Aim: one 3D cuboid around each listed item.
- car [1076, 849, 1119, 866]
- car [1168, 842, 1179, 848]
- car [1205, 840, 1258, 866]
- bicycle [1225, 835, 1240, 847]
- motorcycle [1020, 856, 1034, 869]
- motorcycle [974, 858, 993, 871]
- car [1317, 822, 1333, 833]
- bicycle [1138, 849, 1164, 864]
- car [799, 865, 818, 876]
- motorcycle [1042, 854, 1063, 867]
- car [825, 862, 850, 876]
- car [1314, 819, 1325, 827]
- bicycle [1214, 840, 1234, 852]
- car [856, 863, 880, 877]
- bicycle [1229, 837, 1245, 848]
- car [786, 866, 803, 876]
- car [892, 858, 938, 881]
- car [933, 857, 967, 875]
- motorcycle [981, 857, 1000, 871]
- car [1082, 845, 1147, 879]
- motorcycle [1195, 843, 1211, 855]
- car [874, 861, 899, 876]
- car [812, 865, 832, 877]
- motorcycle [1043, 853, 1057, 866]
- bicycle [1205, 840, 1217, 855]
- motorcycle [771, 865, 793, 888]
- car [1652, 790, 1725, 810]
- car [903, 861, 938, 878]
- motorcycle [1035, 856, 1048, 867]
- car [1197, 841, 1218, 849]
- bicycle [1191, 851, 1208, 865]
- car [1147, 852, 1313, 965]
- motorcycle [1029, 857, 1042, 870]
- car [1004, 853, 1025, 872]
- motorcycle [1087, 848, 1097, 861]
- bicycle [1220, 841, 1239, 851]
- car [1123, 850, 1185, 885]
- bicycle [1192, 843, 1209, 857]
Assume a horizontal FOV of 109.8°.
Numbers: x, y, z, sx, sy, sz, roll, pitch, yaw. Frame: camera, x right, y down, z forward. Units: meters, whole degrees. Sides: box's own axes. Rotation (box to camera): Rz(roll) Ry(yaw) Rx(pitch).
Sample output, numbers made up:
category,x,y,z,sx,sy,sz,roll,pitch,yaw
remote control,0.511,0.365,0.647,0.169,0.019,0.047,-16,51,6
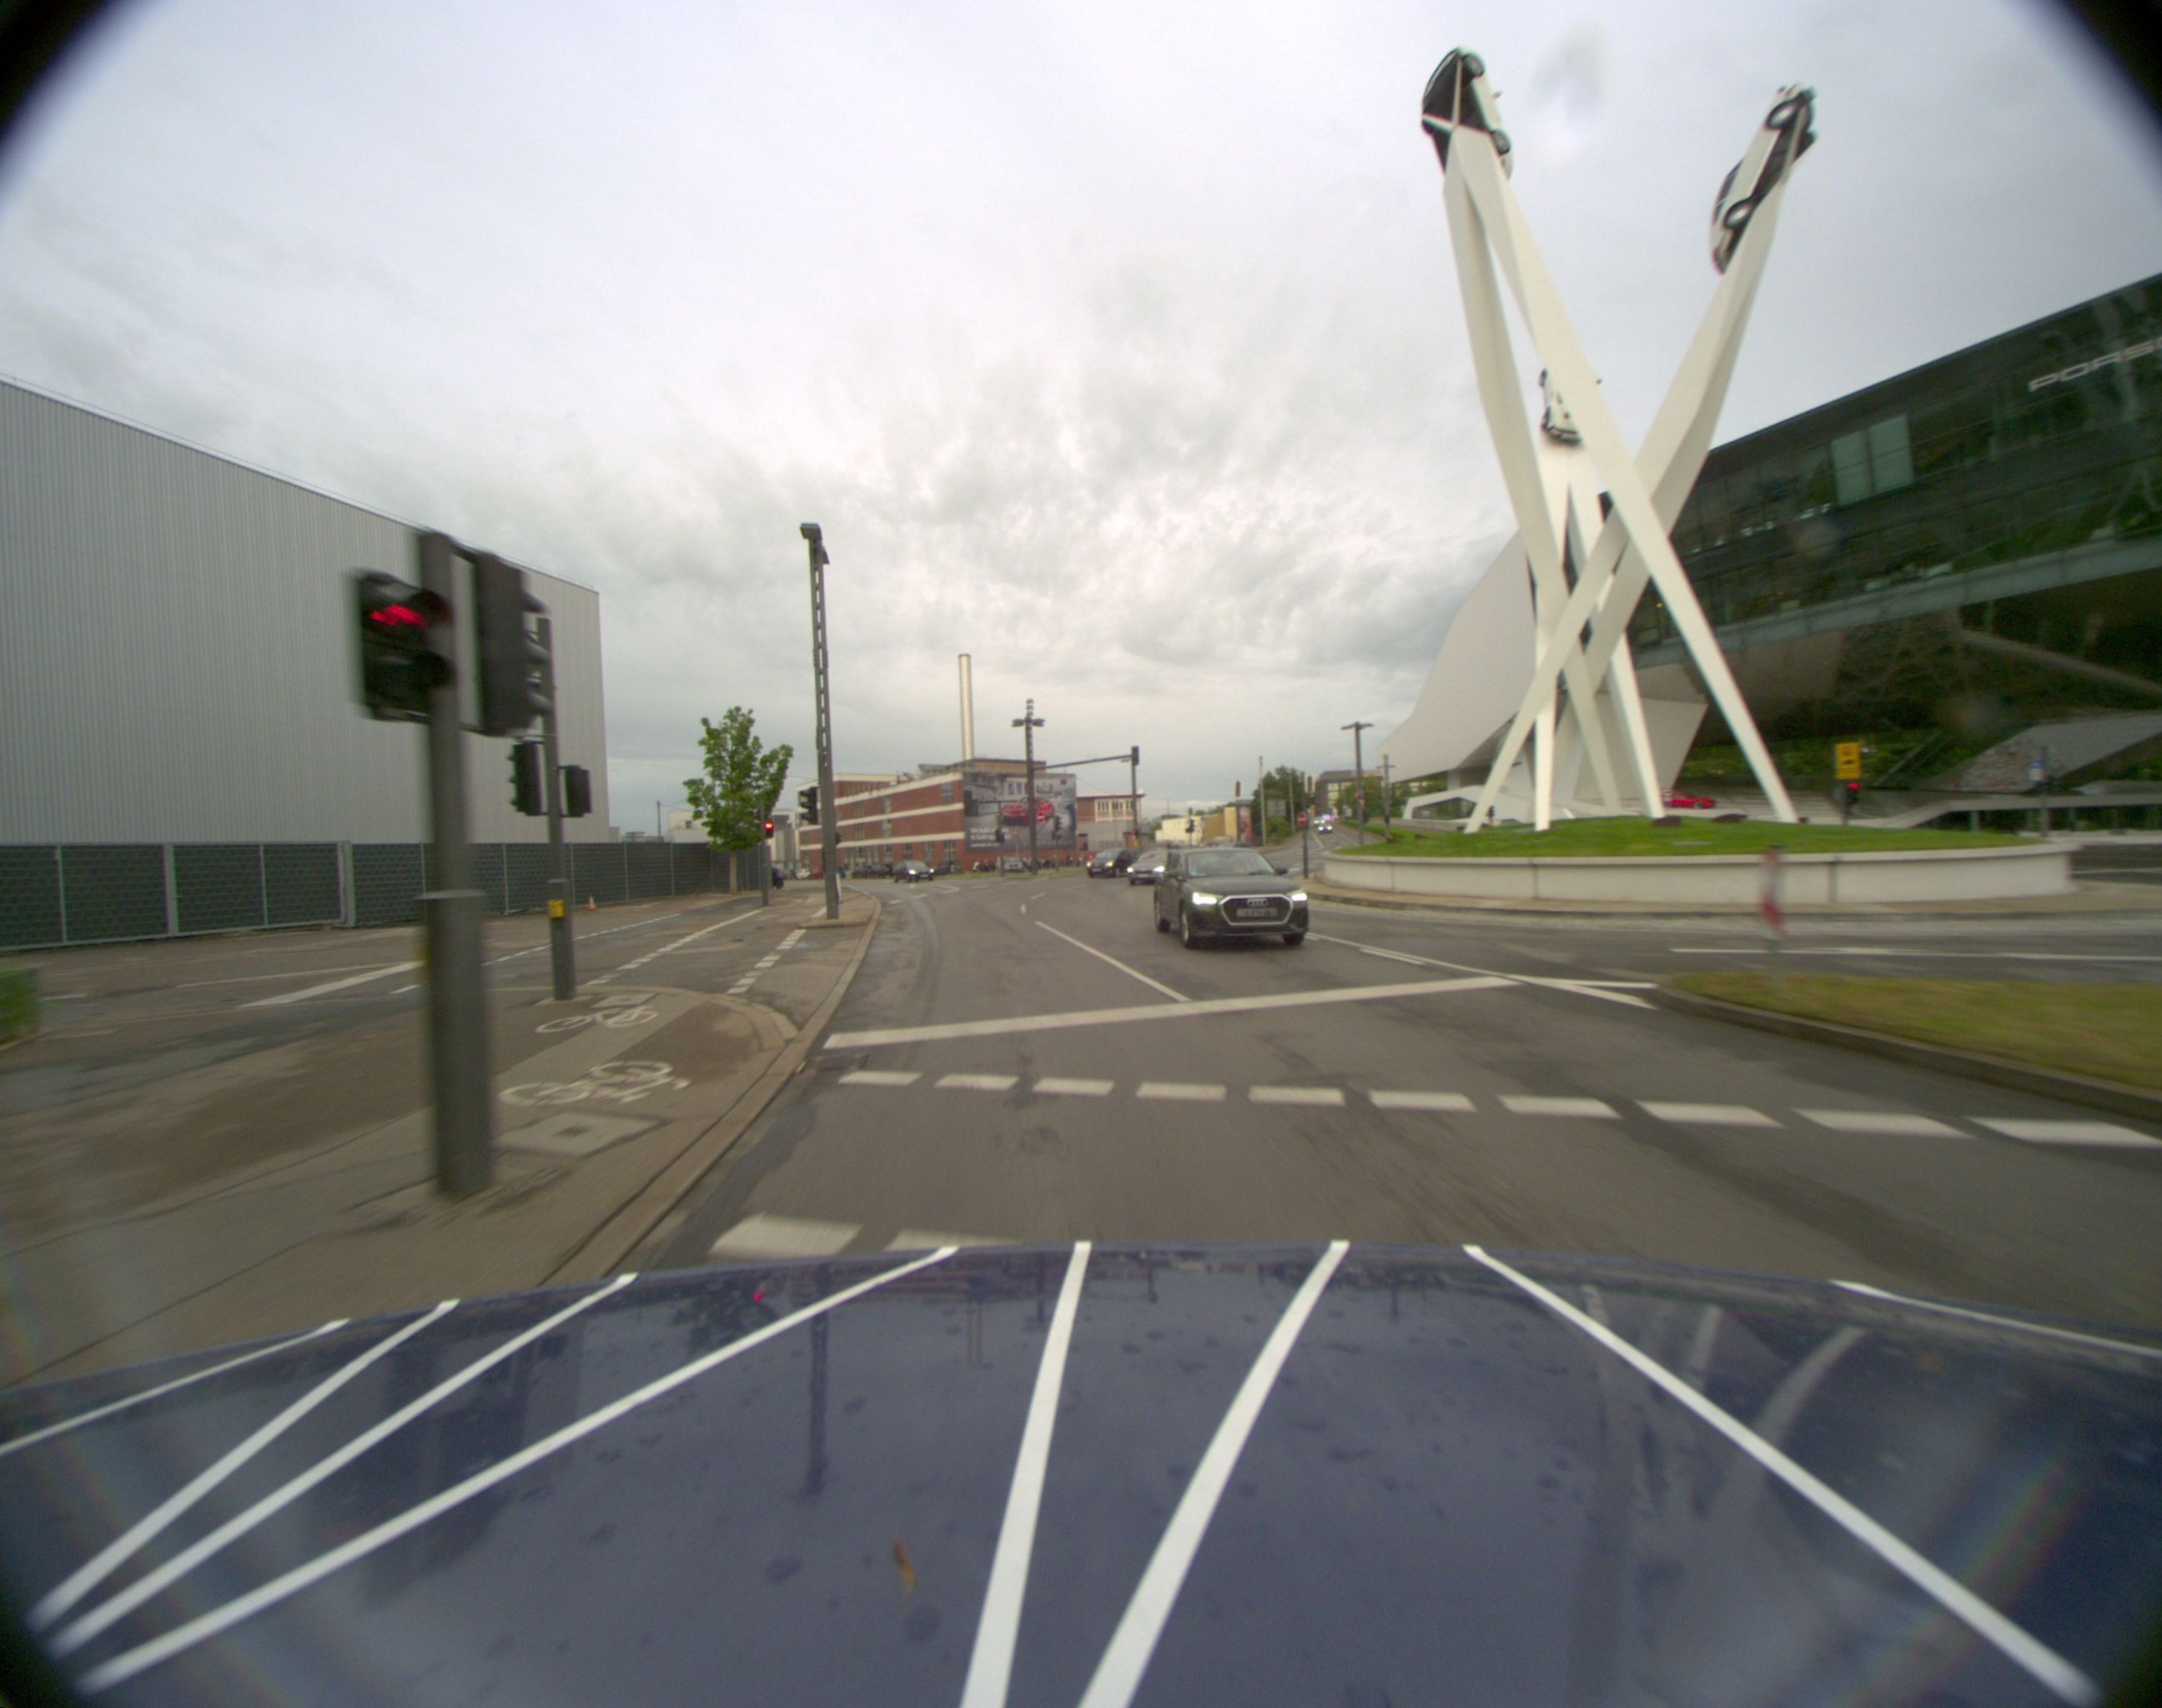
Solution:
category,x,y,z,sx,sy,sz,roll,pitch,yaw
car,1.648,0.337,75.870,3.990,1.481,1.570,-3,1,26
car,23.093,-2.146,189.402,1.720,1.417,3.997,-3,1,-7
car,10.394,-0.088,52.318,1.745,1.466,4.075,-2,3,40
bicycle,15.668,-1.316,78.675,1.542,1.149,0.451,-1,4,13
motorcycle,-5.231,0.826,73.684,0.545,1.174,1.709,-6,3,-33
motorcycle,-9.400,0.971,73.342,1.650,1.105,0.543,-6,3,-28
car,36.727,-3.987,114.504,1.815,1.430,4.305,-2,1,12
bicycle,5.771,0.196,62.600,2.075,1.124,0.420,-6,3,-26
car,-36.853,2.237,102.708,1.461,1.368,3.380,-6,3,-33
motorcycle,-2.664,0.614,70.939,1.868,1.105,0.543,-6,3,-36
car,-29.989,1.855,93.603,1.700,1.436,3.380,-7,3,-41
car,49.317,-6.401,157.024,1.815,1.430,4.305,-2,1,12
bicycle,12.960,-0.728,68.791,1.741,0.956,0.422,-2,4,26
car,-23.931,1.750,85.232,1.461,1.436,3.380,-6,3,-33
bicycle,15.787,-1.193,76.878,1.463,1.068,0.442,-3,4,-13
car,-41.637,2.446,110.367,1.461,1.234,3.362,-6,3,-33
car,-11.310,1.036,51.588,1.723,1.417,3.990,-4,1,-33
car,-12.014,1.089,69.693,2.744,1.484,1.557,-3,-1,33
motorcycle,-8.633,0.949,72.718,1.604,1.114,0.543,-6,3,-28
car,1.876,0.421,41.466,1.690,1.499,4.016,-2,3,32
motorcycle,10.959,-0.444,68.280,0.546,0.890,1.747,-1,4,41
car,-20.812,1.487,81.166,1.461,1.436,3.456,-6,3,-33
car,-33.301,2.193,97.640,1.461,1.436,3.380,-6,3,-33
motorcycle,-3.058,0.581,75.372,0.545,1.231,1.803,-3,1,-33
bicycle,11.639,-0.610,67.952,0.399,1.169,2.017,-2,3,27
motorcycle,-17.562,1.339,44.558,0.656,1.303,2.096,-3,0,-36
car,50.994,-4.588,63.820,2.003,1.378,4.231,-4,9,-29
car,-15.618,1.477,73.869,1.570,1.436,4.095,-7,3,-38
motorcycle,-3.888,0.728,74.750,0.477,1.113,1.805,-6,3,-30
car,26.109,-1.801,156.708,3.996,1.417,1.721,-3,1,3
bicycle,10.389,0.354,66.551,1.747,1.078,0.346,-6,4,-39
car,2.308,0.771,12.937,1.757,1.509,4.393,-2,1,-2
motorcycle,-4.103,0.862,68.303,0.495,1.140,1.719,-6,3,-27
car,-5.942,0.723,67.838,1.625,1.495,3.245,-3,1,-7
motorcycle,1.166,0.039,81.088,0.523,1.326,1.671,-4,3,18
bicycle,13.982,-0.757,71.450,1.612,0.916,0.422,-2,2,29
car,3.509,0.597,35.598,1.814,1.430,4.308,-2,1,20
bicycle,10.358,-0.383,65.660,1.747,1.078,0.346,-6,4,-39
